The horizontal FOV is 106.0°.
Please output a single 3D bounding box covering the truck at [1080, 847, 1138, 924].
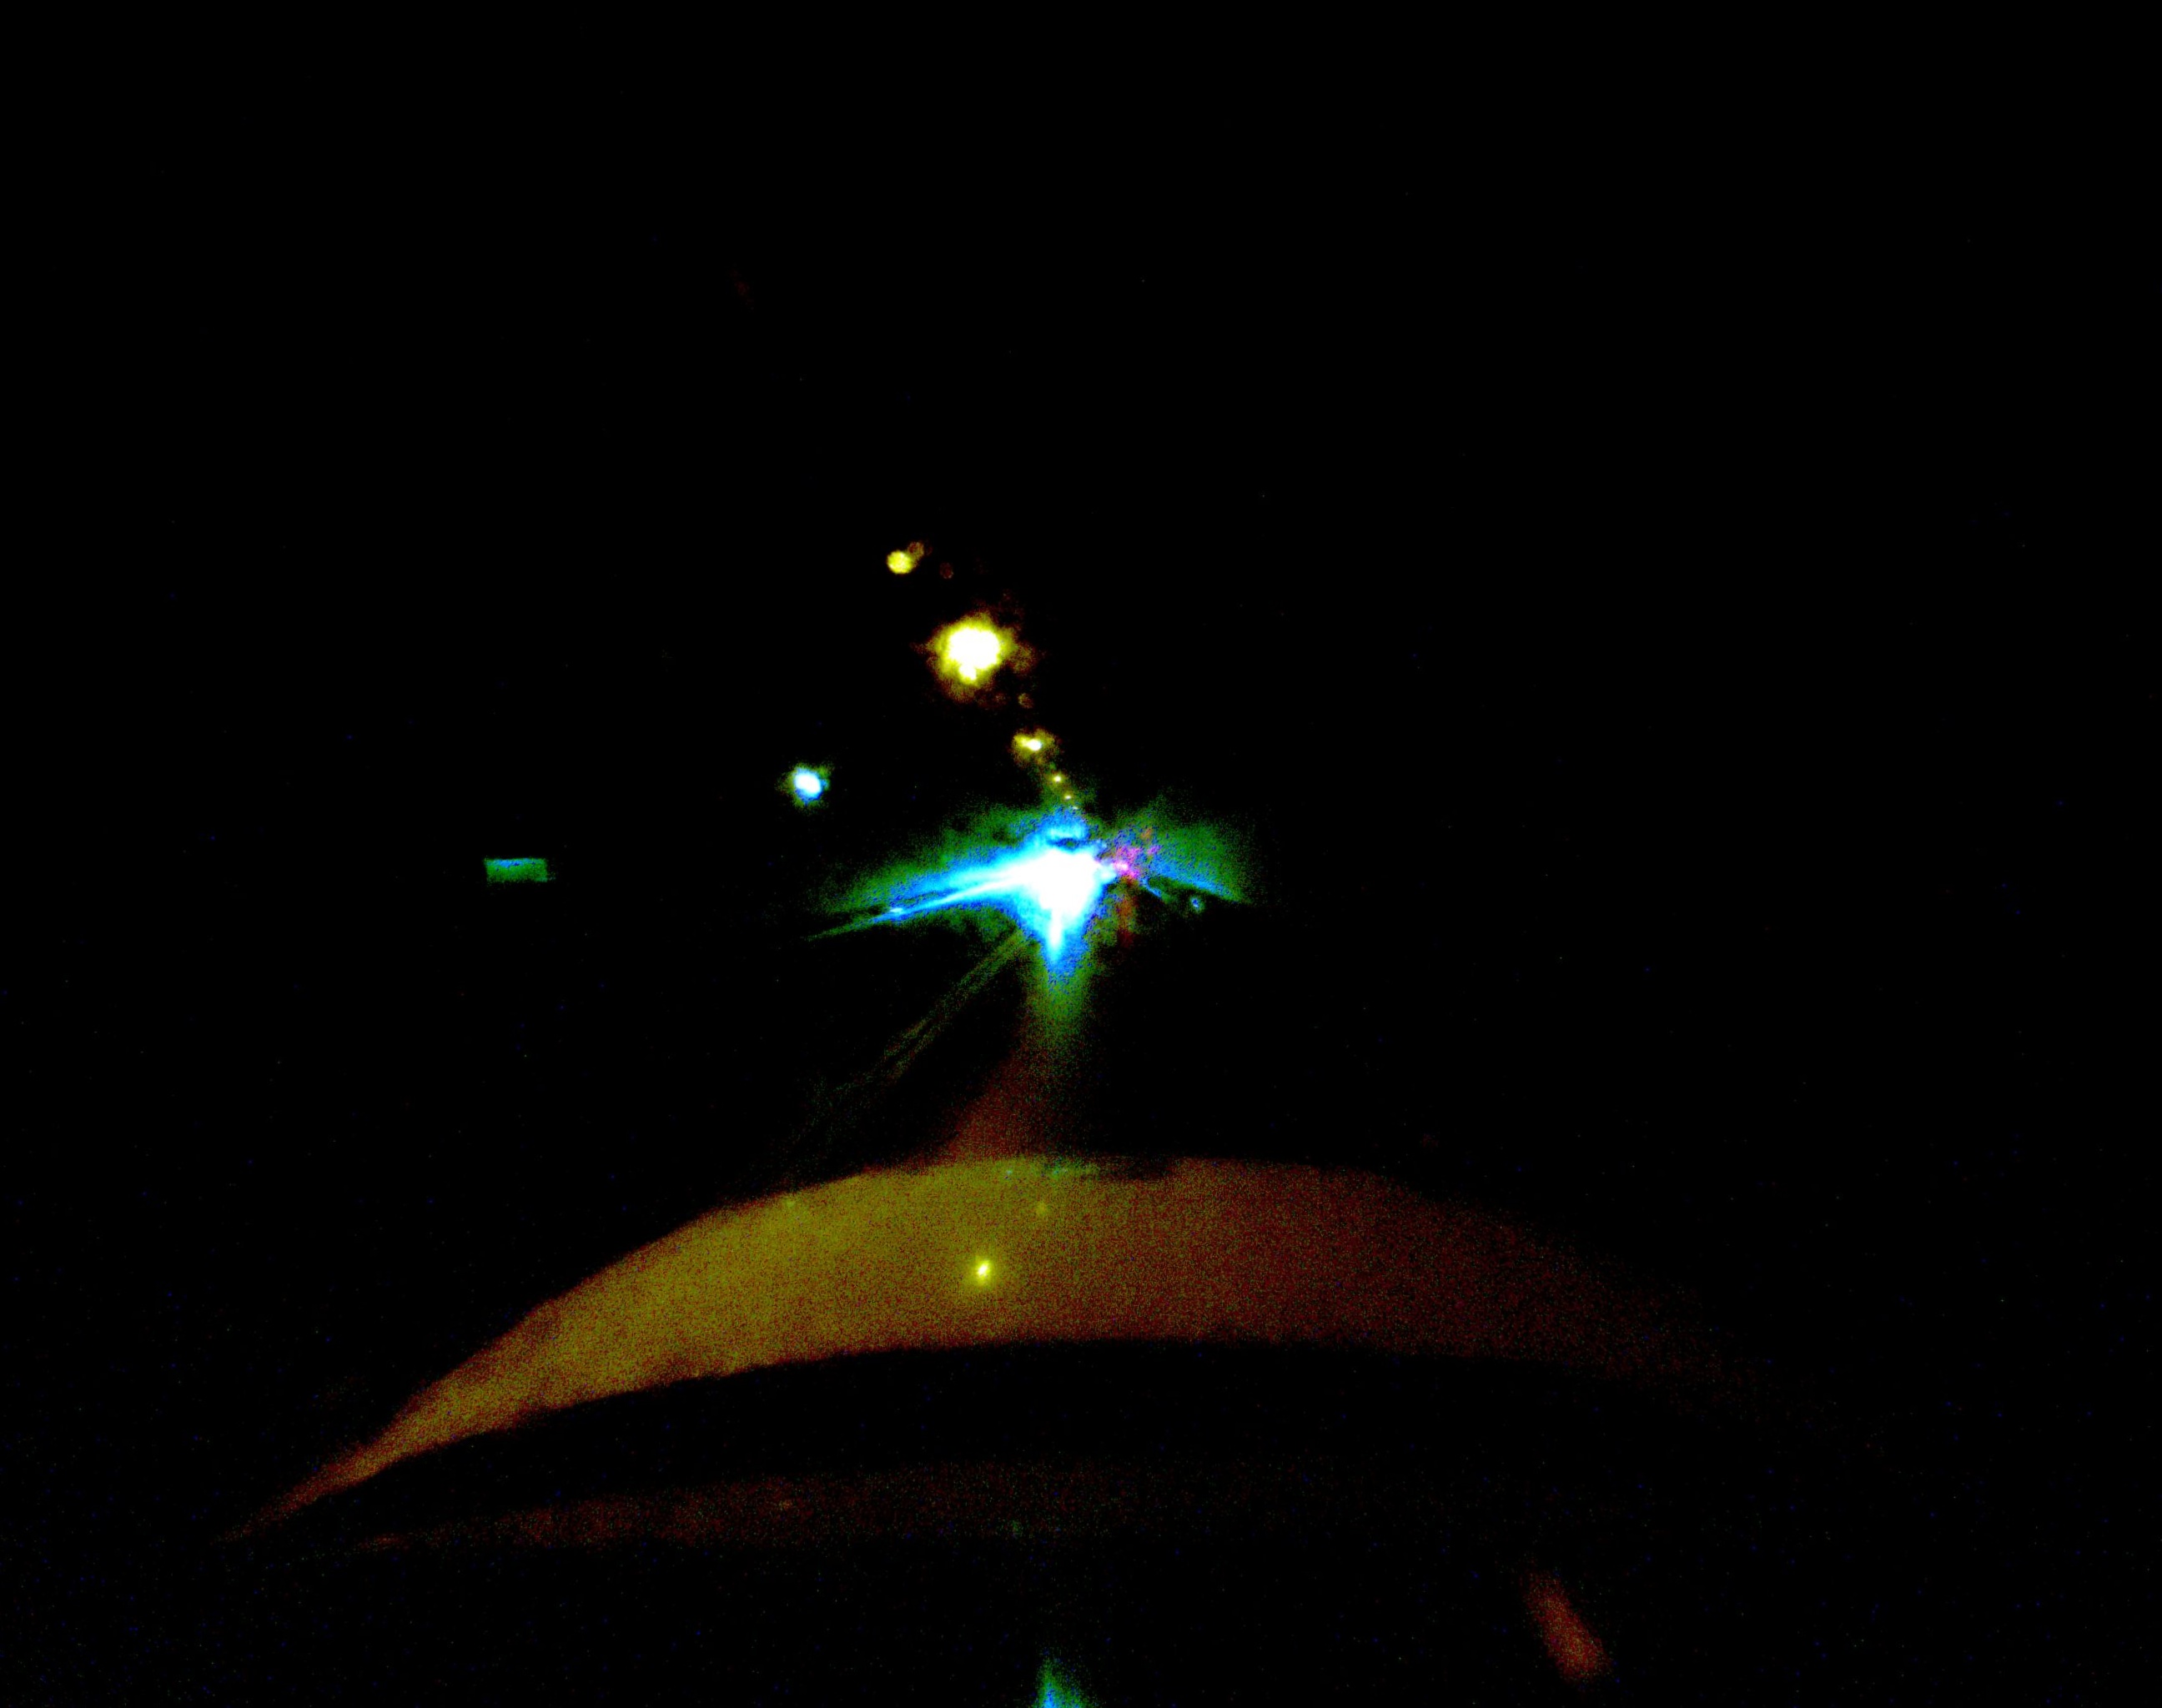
[{"bbox_3d":[1.222,1.247,35.665,2.253,3.011,7.418,0,0,2],"label":"truck"}]
